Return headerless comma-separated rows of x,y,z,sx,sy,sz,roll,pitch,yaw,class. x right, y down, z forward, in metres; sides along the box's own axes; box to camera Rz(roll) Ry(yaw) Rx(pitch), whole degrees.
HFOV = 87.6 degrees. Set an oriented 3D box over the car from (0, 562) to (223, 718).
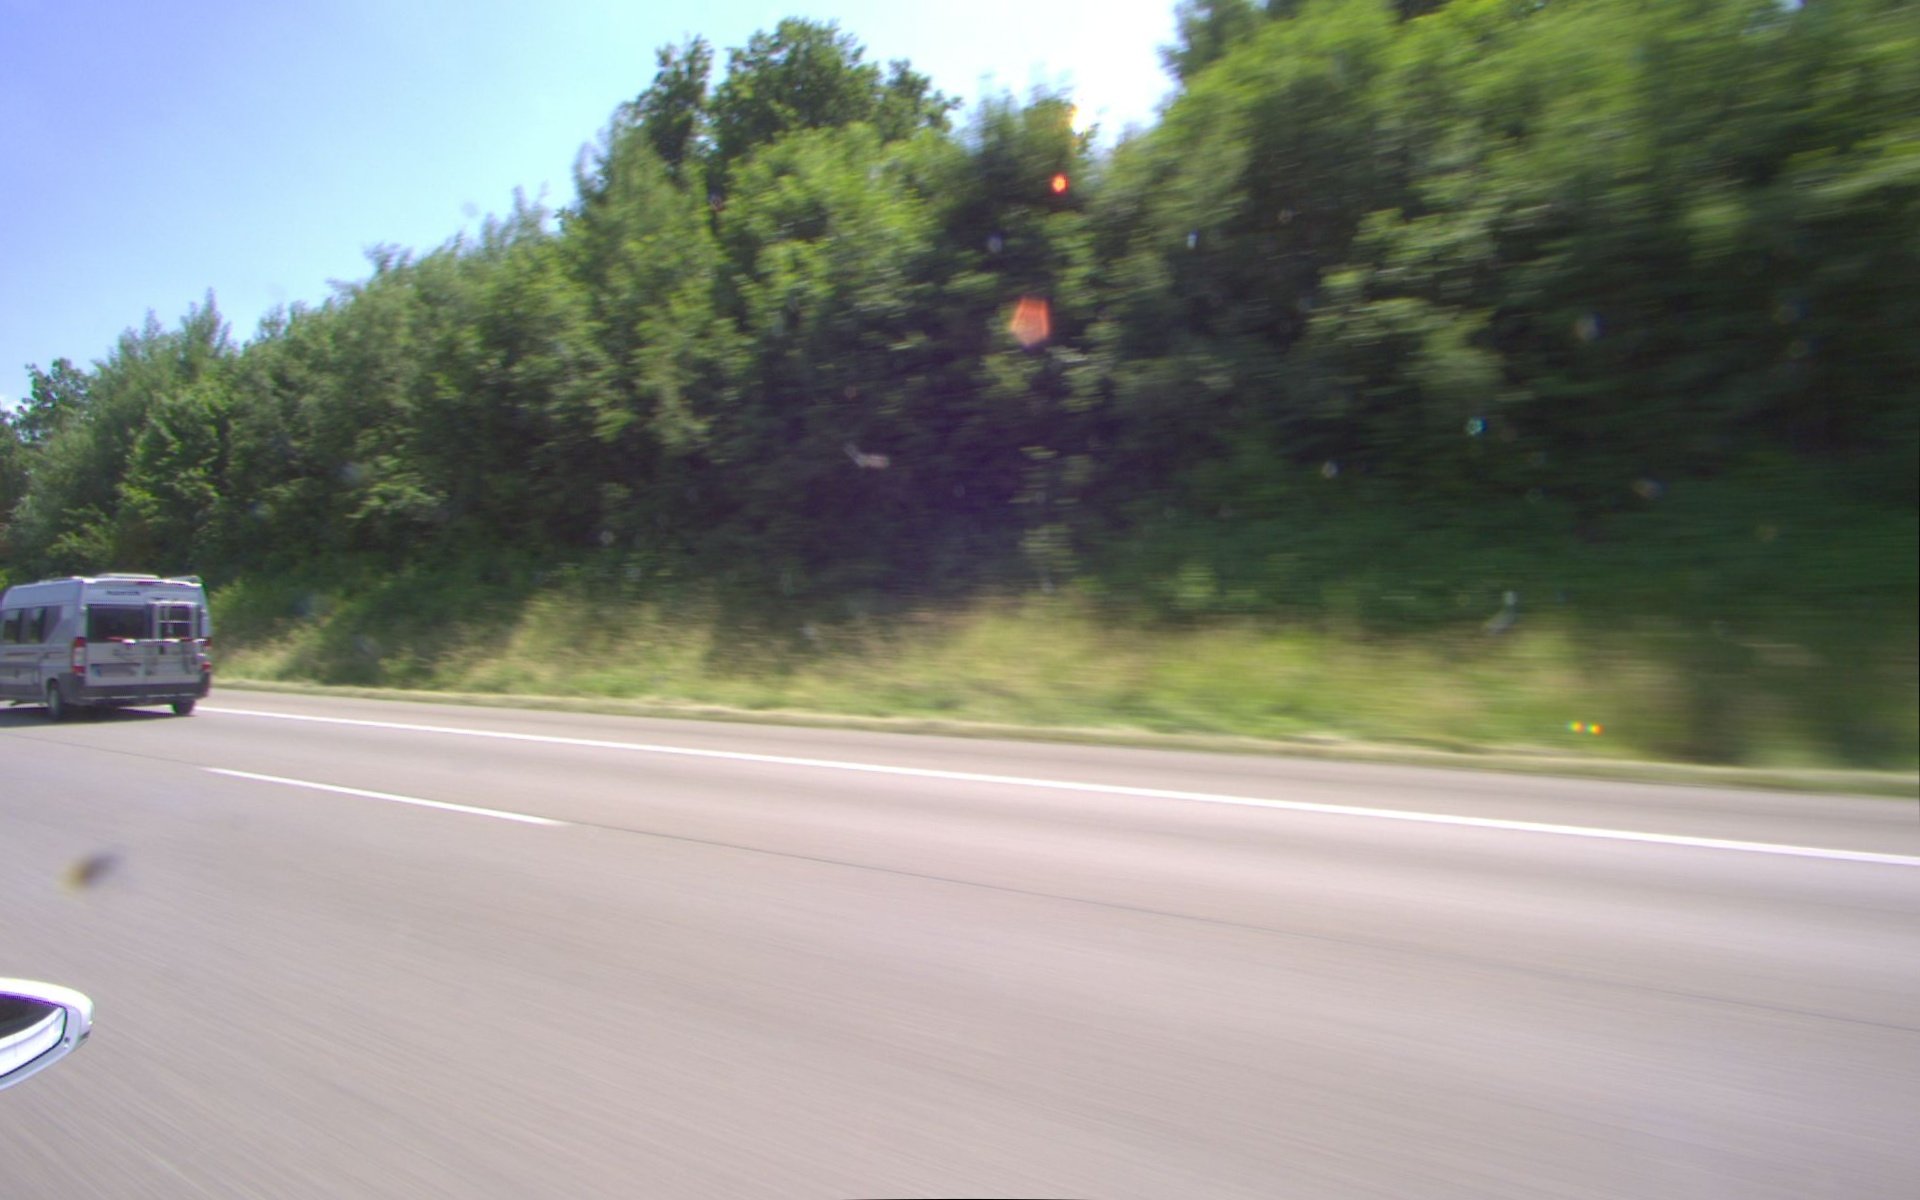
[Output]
-16.934,0.683,19.385,6.527,2.609,2.085,0,-1,33,car
